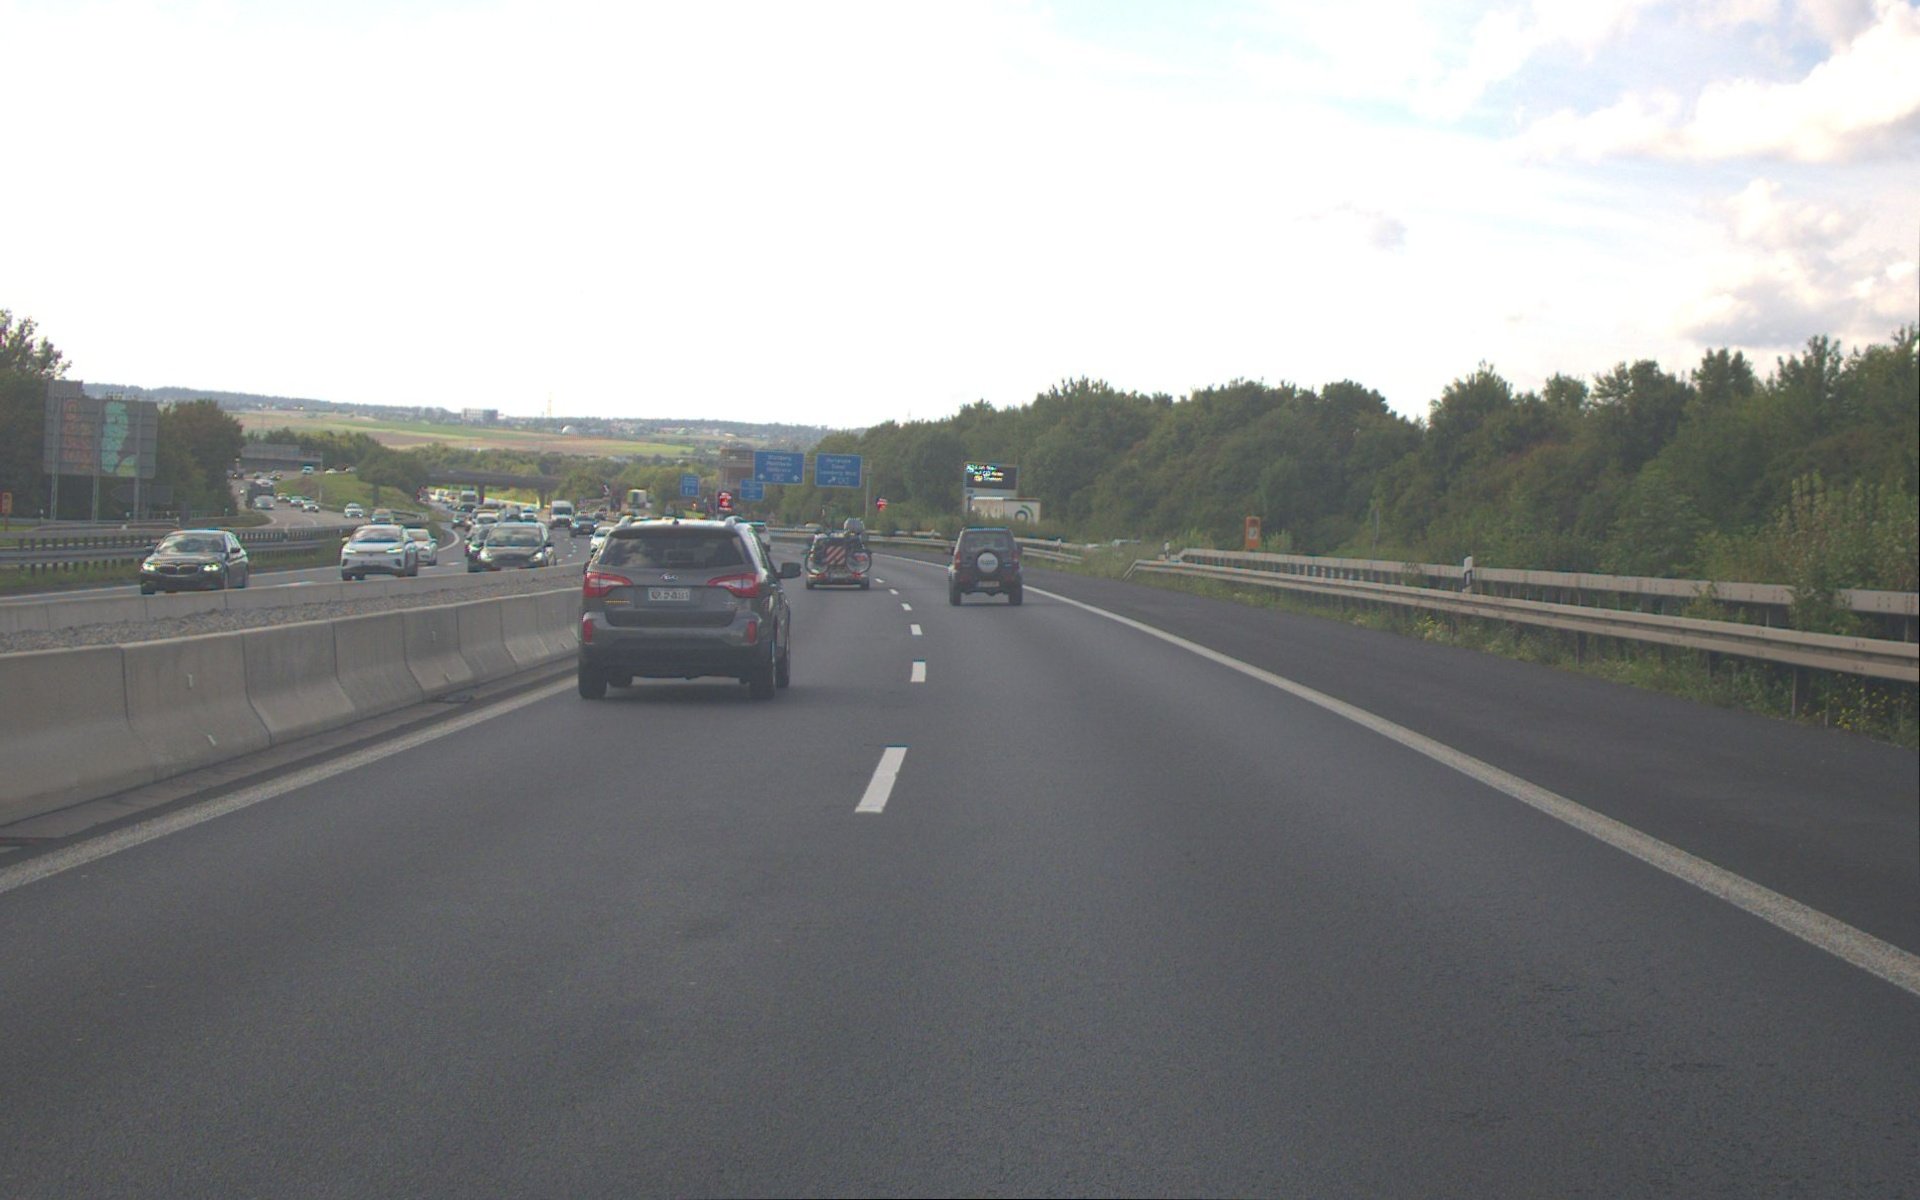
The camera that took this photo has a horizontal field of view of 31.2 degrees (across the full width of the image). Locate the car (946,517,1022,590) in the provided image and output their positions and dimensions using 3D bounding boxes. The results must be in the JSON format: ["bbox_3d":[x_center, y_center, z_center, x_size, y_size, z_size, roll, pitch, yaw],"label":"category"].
[{"bbox_3d":[0.521,-1.074,77.957,1.587,1.591,4.096,1,1,-1],"label":"car"}]

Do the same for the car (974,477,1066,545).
[{"bbox_3d":[4.061,-6.094,237.515,4.727,4.251,11.406,1,0,-7],"label":"car"}]

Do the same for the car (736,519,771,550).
[{"bbox_3d":[-12.053,-3.822,200.781,1.993,1.678,4.000,1,0,-4],"label":"car"}]

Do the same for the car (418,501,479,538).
[{"bbox_3d":[-20.475,-3.215,137.790,1.886,1.425,4.578,1,1,-2],"label":"car"}]

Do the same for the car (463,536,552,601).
[{"bbox_3d":[-12.410,-0.882,94.590,1.886,1.697,4.967,1,1,-1],"label":"car"}]

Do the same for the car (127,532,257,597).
[{"bbox_3d":[-17.263,-0.822,77.505,1.993,1.397,4.814,1,1,-2],"label":"car"}]

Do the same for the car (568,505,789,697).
[{"bbox_3d":[-2.693,-0.020,33.949,1.817,1.730,5.187,1,1,-1],"label":"car"}]

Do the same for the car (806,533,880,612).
[{"bbox_3d":[-3.275,-0.806,96.806,2.030,2.144,4.001,1,1,-1],"label":"car"}]

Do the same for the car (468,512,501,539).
[{"bbox_3d":[-33.031,-5.199,238.977,1.993,1.808,4.242,1,1,-5],"label":"car"}]

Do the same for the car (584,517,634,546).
[{"bbox_3d":[-16.861,-3.299,165.410,2.045,1.333,5.609,1,1,-3],"label":"car"}]

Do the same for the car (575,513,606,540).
[{"bbox_3d":[-27.437,-5.491,255.223,1.993,1.913,5.150,1,1,-3],"label":"car"}]

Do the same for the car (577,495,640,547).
[{"bbox_3d":[-12.474,-2.809,122.168,1.886,1.778,4.953,1,1,-2],"label":"car"}]

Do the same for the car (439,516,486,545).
[{"bbox_3d":[-24.258,-3.398,167.748,1.868,1.333,4.230,1,1,-3],"label":"car"}]

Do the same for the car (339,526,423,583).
[{"bbox_3d":[-17.046,-1.362,101.440,1.886,1.604,4.967,1,1,-3],"label":"car"}]
